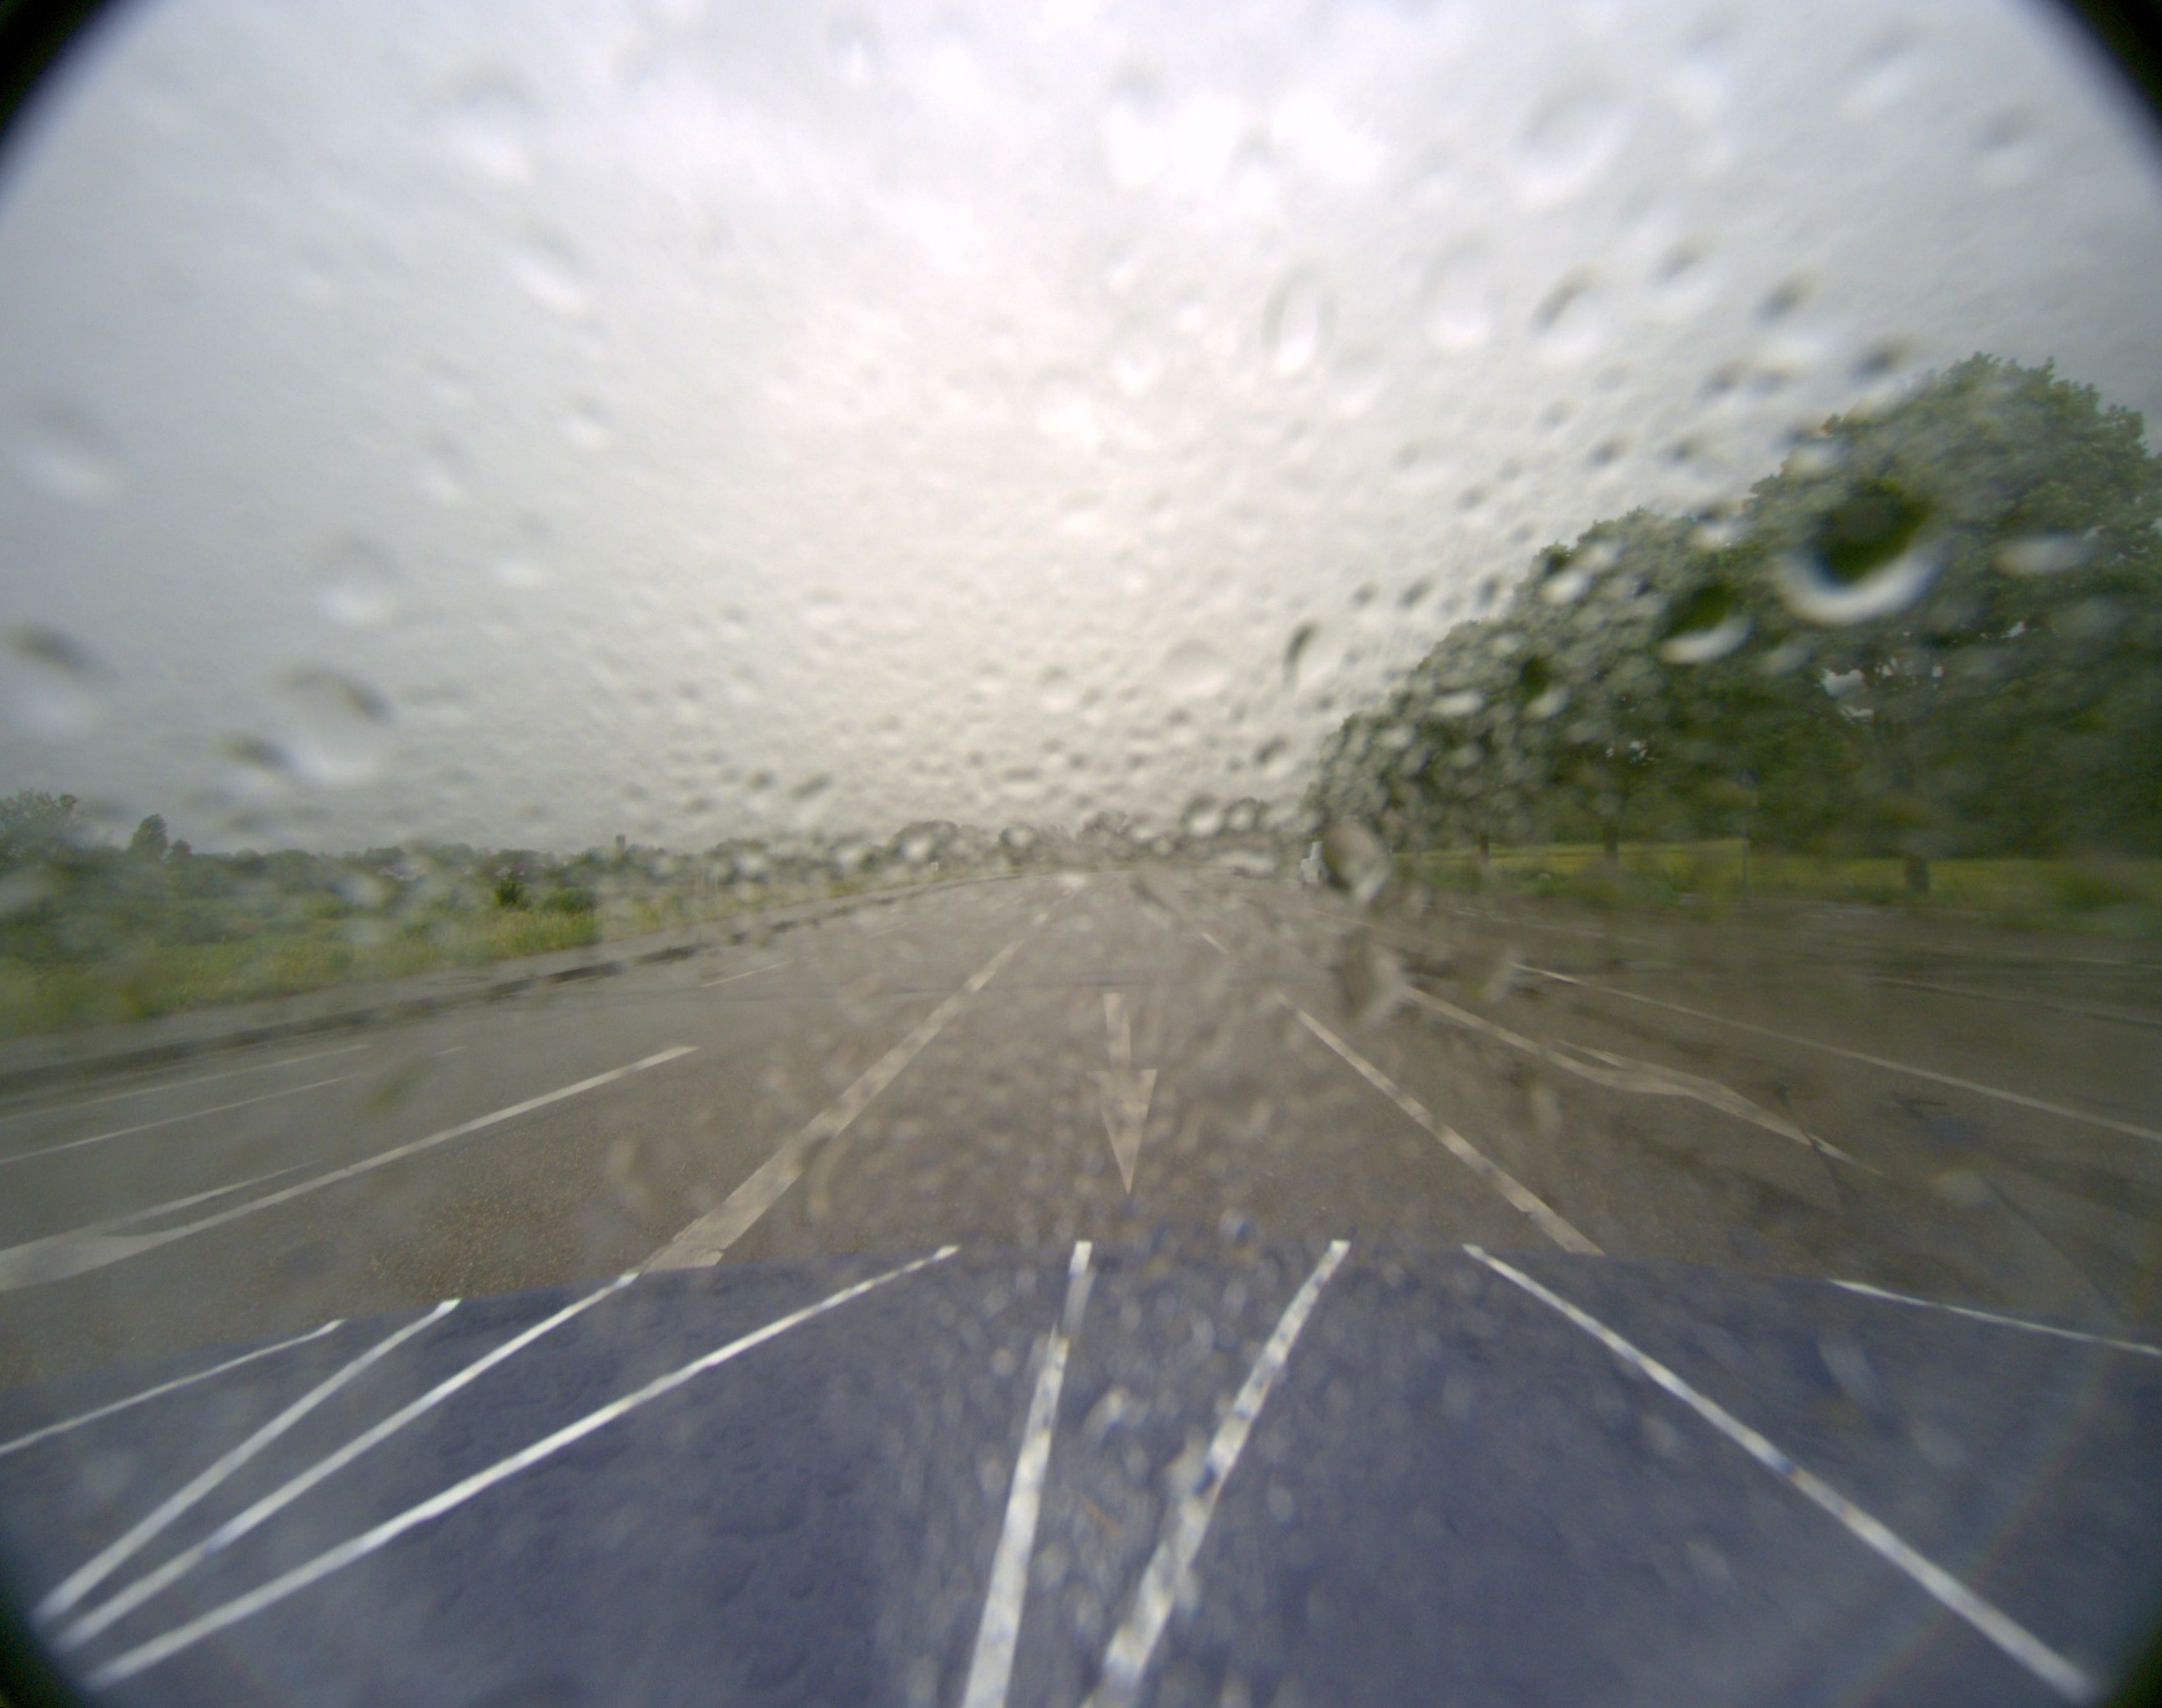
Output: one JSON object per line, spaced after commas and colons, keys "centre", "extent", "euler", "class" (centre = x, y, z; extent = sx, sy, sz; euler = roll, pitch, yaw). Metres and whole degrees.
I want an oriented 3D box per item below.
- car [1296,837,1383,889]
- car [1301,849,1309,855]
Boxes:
{"centre": [10.327, 0.300, 30.772], "extent": [2.111, 1.881, 4.791], "euler": [-1, 1, 3], "class": "car"}
{"centre": [60.444, -0.527, 205.165], "extent": [1.913, 1.576, 4.108], "euler": [-1, 1, 20], "class": "car"}
